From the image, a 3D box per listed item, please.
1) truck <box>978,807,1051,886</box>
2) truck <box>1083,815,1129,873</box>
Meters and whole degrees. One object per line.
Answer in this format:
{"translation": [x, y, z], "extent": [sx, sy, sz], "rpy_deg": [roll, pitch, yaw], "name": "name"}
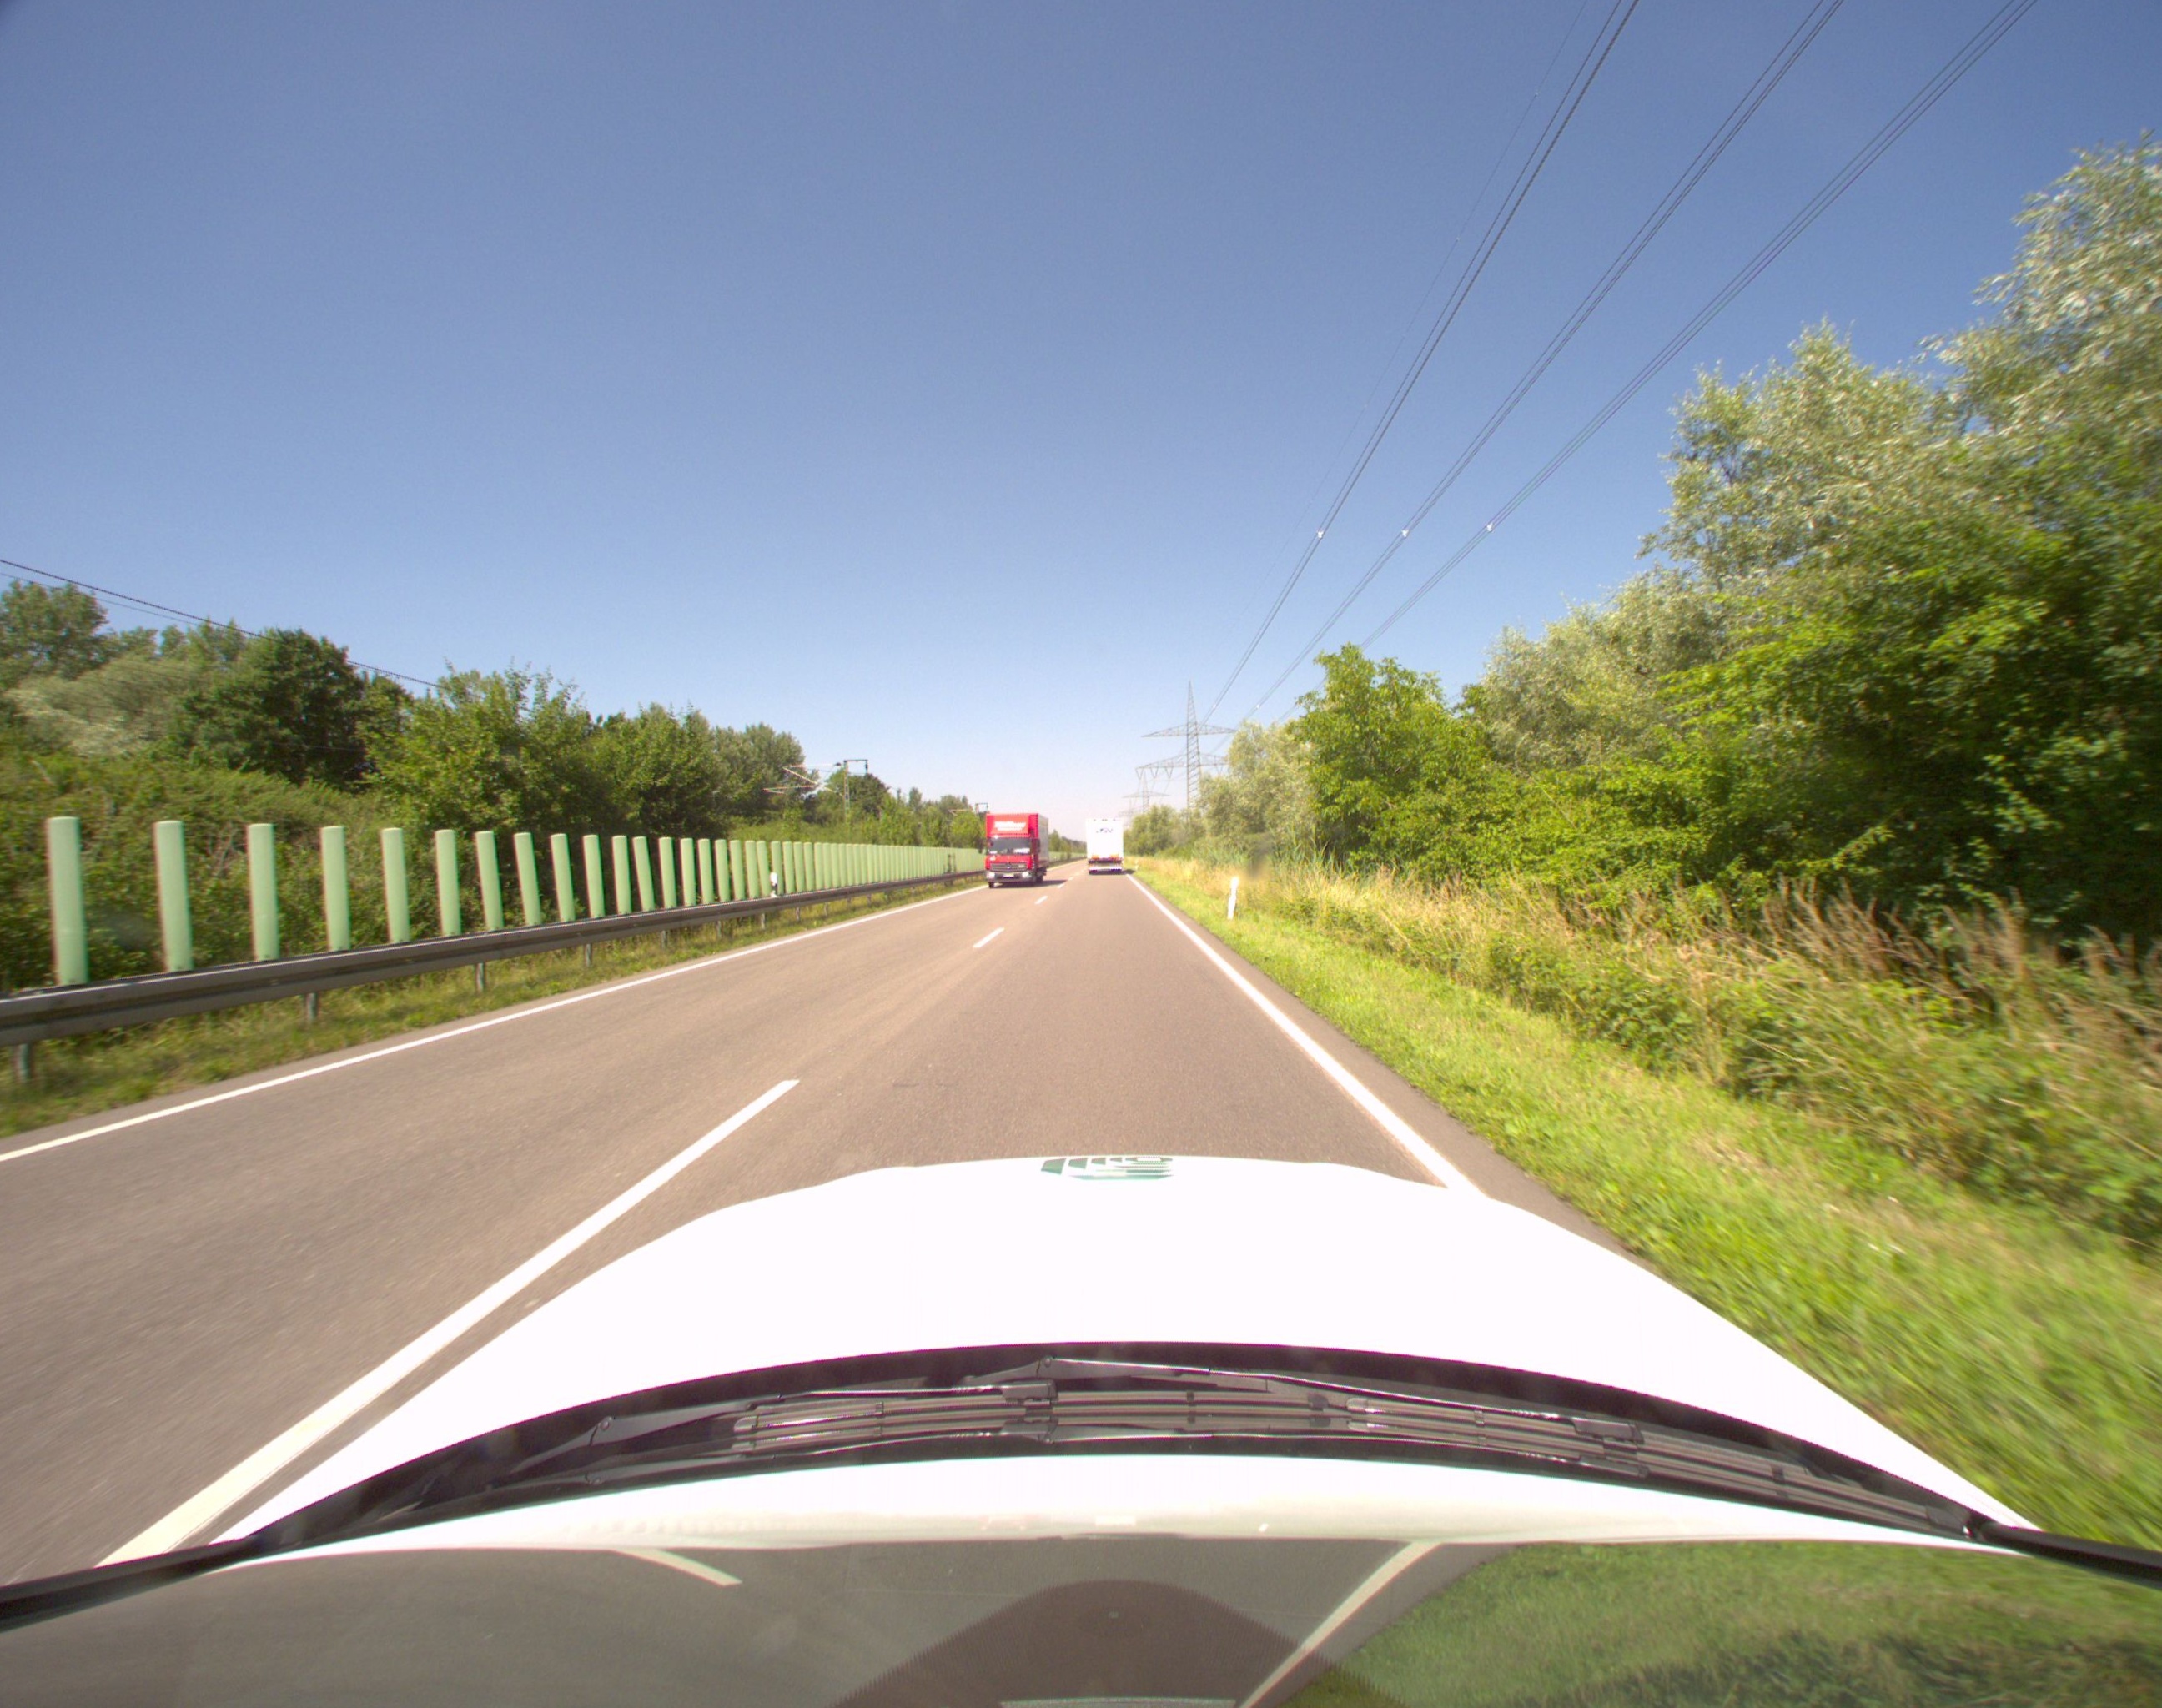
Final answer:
{"translation": [-3.263, -0.361, 42.650], "extent": [2.724, 3.599, 9.529], "rpy_deg": [-1, 0, 1], "name": "truck"}
{"translation": [1.904, -0.702, 63.695], "extent": [3.181, 4.042, 12.009], "rpy_deg": [-1, 0, 1], "name": "truck"}
